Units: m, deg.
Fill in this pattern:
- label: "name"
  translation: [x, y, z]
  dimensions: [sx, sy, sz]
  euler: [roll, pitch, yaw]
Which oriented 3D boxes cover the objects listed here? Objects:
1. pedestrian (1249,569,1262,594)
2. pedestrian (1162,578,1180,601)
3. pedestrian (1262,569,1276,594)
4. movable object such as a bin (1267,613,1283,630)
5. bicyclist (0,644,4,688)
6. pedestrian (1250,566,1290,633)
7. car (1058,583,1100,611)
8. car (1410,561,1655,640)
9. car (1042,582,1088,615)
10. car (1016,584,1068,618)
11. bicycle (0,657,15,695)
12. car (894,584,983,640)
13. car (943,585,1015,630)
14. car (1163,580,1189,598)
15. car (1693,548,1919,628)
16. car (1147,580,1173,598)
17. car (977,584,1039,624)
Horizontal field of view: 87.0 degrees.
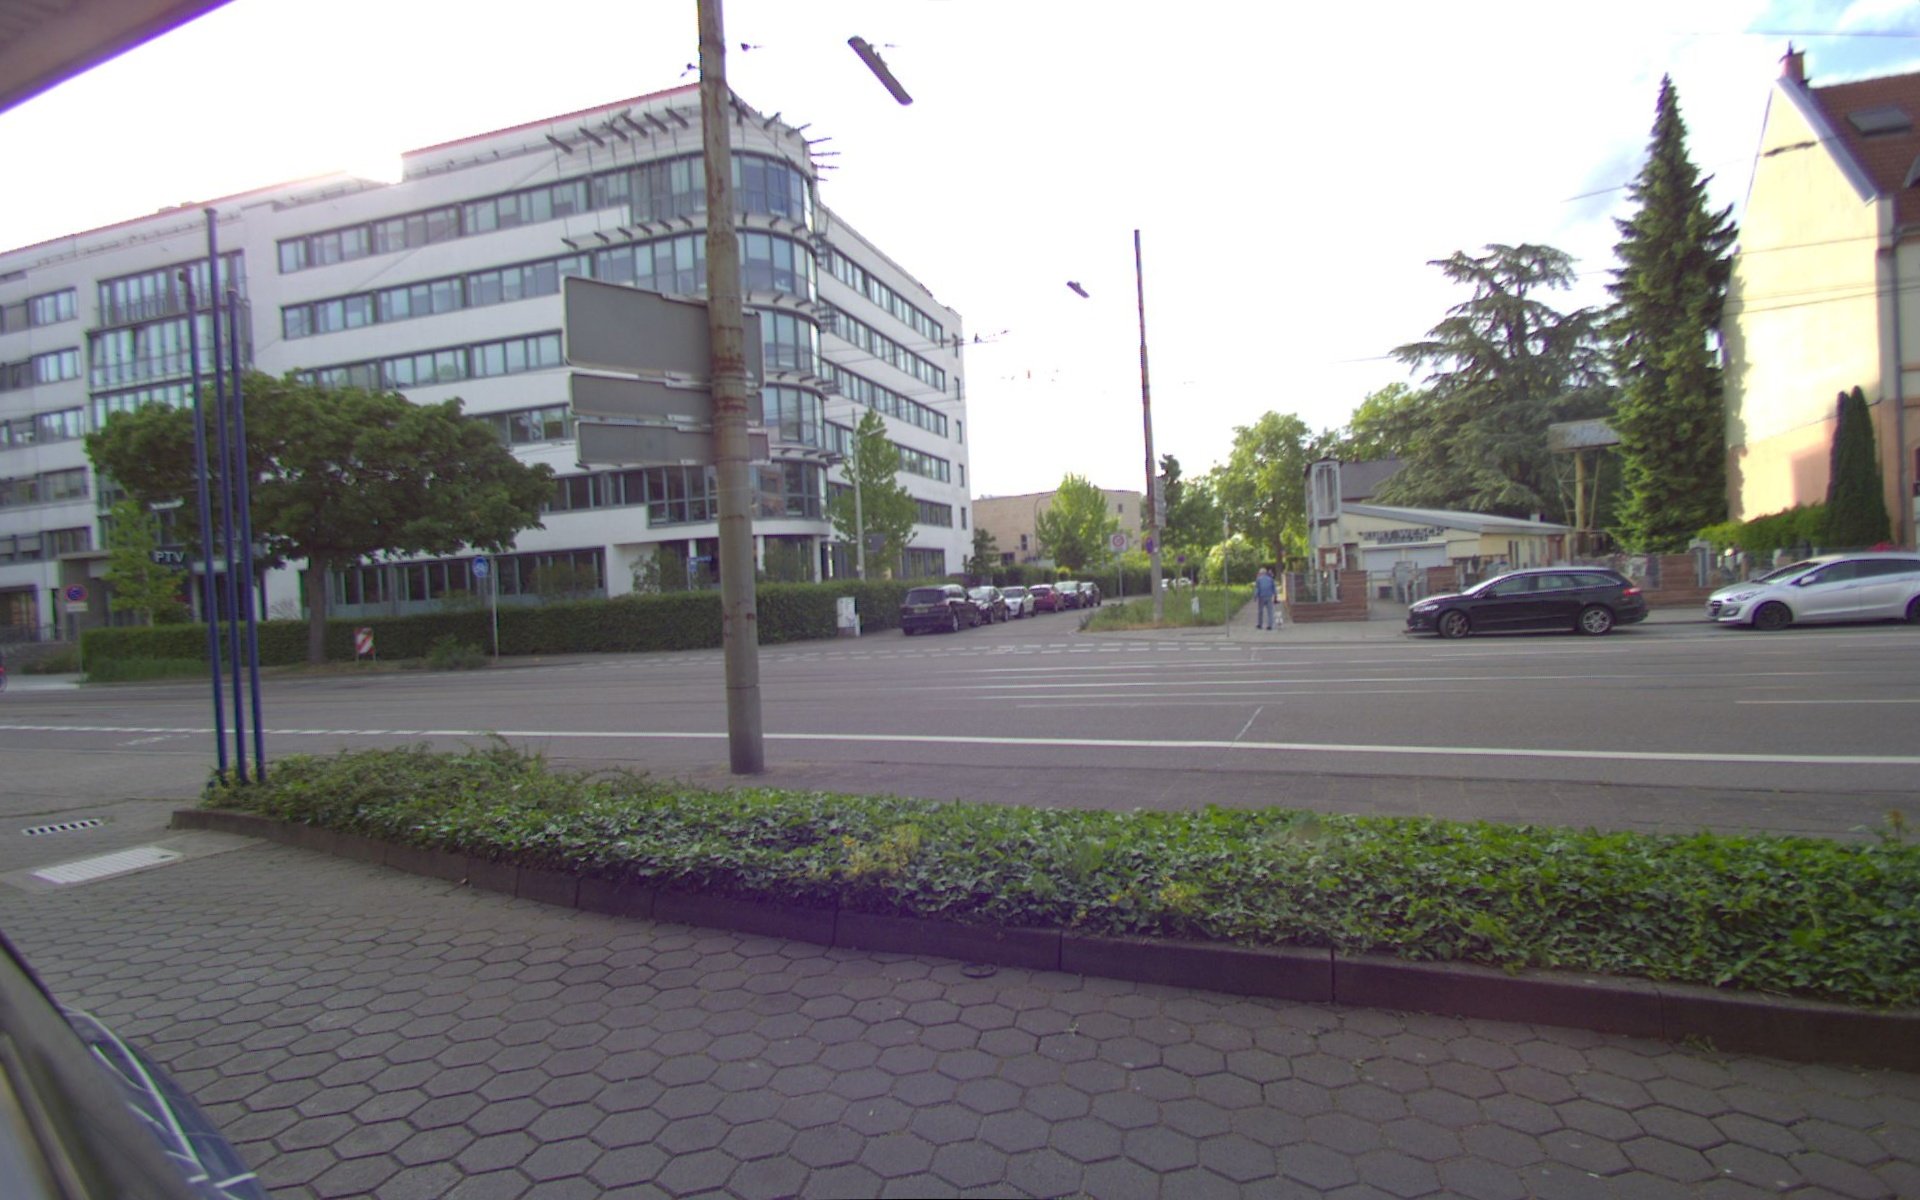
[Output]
- label: "pedestrian"
  translation: [22.782, -1.383, 78.036]
  dimensions: [0.965, 1.896, 1.056]
  euler: [-1, 0, 17]
- label: "pedestrian"
  translation: [17.740, -0.914, 84.986]
  dimensions: [1.043, 1.896, 0.977]
  euler: [-1, 0, -22]
- label: "pedestrian"
  translation: [23.756, -1.396, 77.745]
  dimensions: [0.965, 1.896, 1.056]
  euler: [-1, 0, 17]
- label: "movable object such as a bin"
  translation: [8.772, 0.593, 28.183]
  dimensions: [0.363, 0.397, 0.660]
  euler: [-3, 4, 16]
- label: "bicyclist"
  translation: [-33.083, 2.250, 34.096]
  dimensions: [1.165, 1.462, 0.788]
  euler: [-1, 0, 14]
- label: "pedestrian"
  translation: [8.436, -0.032, 27.587]
  dimensions: [0.900, 1.712, 0.922]
  euler: [-2, 5, 13]
- label: "car"
  translation: [7.385, -0.214, 62.573]
  dimensions: [1.807, 1.585, 4.052]
  euler: [-4, 0, 16]
- label: "car"
  translation: [13.017, 0.010, 23.370]
  dimensions: [4.632, 1.533, 1.842]
  euler: [-3, 2, 22]
- label: "car"
  translation: [6.031, -0.137, 57.807]
  dimensions: [1.807, 1.704, 4.392]
  euler: [-4, 0, 16]
- label: "car"
  translation: [4.301, 0.022, 52.409]
  dimensions: [1.807, 1.589, 4.175]
  euler: [-4, 0, 16]
- label: "bicycle"
  translation: [-32.975, 2.561, 34.082]
  dimensions: [1.864, 1.248, 0.788]
  euler: [-1, 0, 14]
- label: "car"
  translation: [-0.684, 0.357, 35.568]
  dimensions: [1.807, 1.701, 4.370]
  euler: [-4, 1, 16]
- label: "car"
  translation: [0.833, 0.270, 40.983]
  dimensions: [1.807, 1.589, 4.175]
  euler: [-4, 0, 16]
- label: "car"
  translation: [22.830, -1.157, 106.858]
  dimensions: [1.813, 1.654, 4.040]
  euler: [-4, 0, 25]
- label: "car"
  translation: [18.410, -0.266, 21.400]
  dimensions: [4.349, 1.493, 1.732]
  euler: [-3, 1, 22]
- label: "car"
  translation: [19.954, -1.137, 100.911]
  dimensions: [1.811, 1.654, 4.044]
  euler: [-4, 0, 22]
- label: "car"
  translation: [2.225, 0.151, 45.687]
  dimensions: [1.807, 1.589, 4.175]
  euler: [-4, 0, 16]
